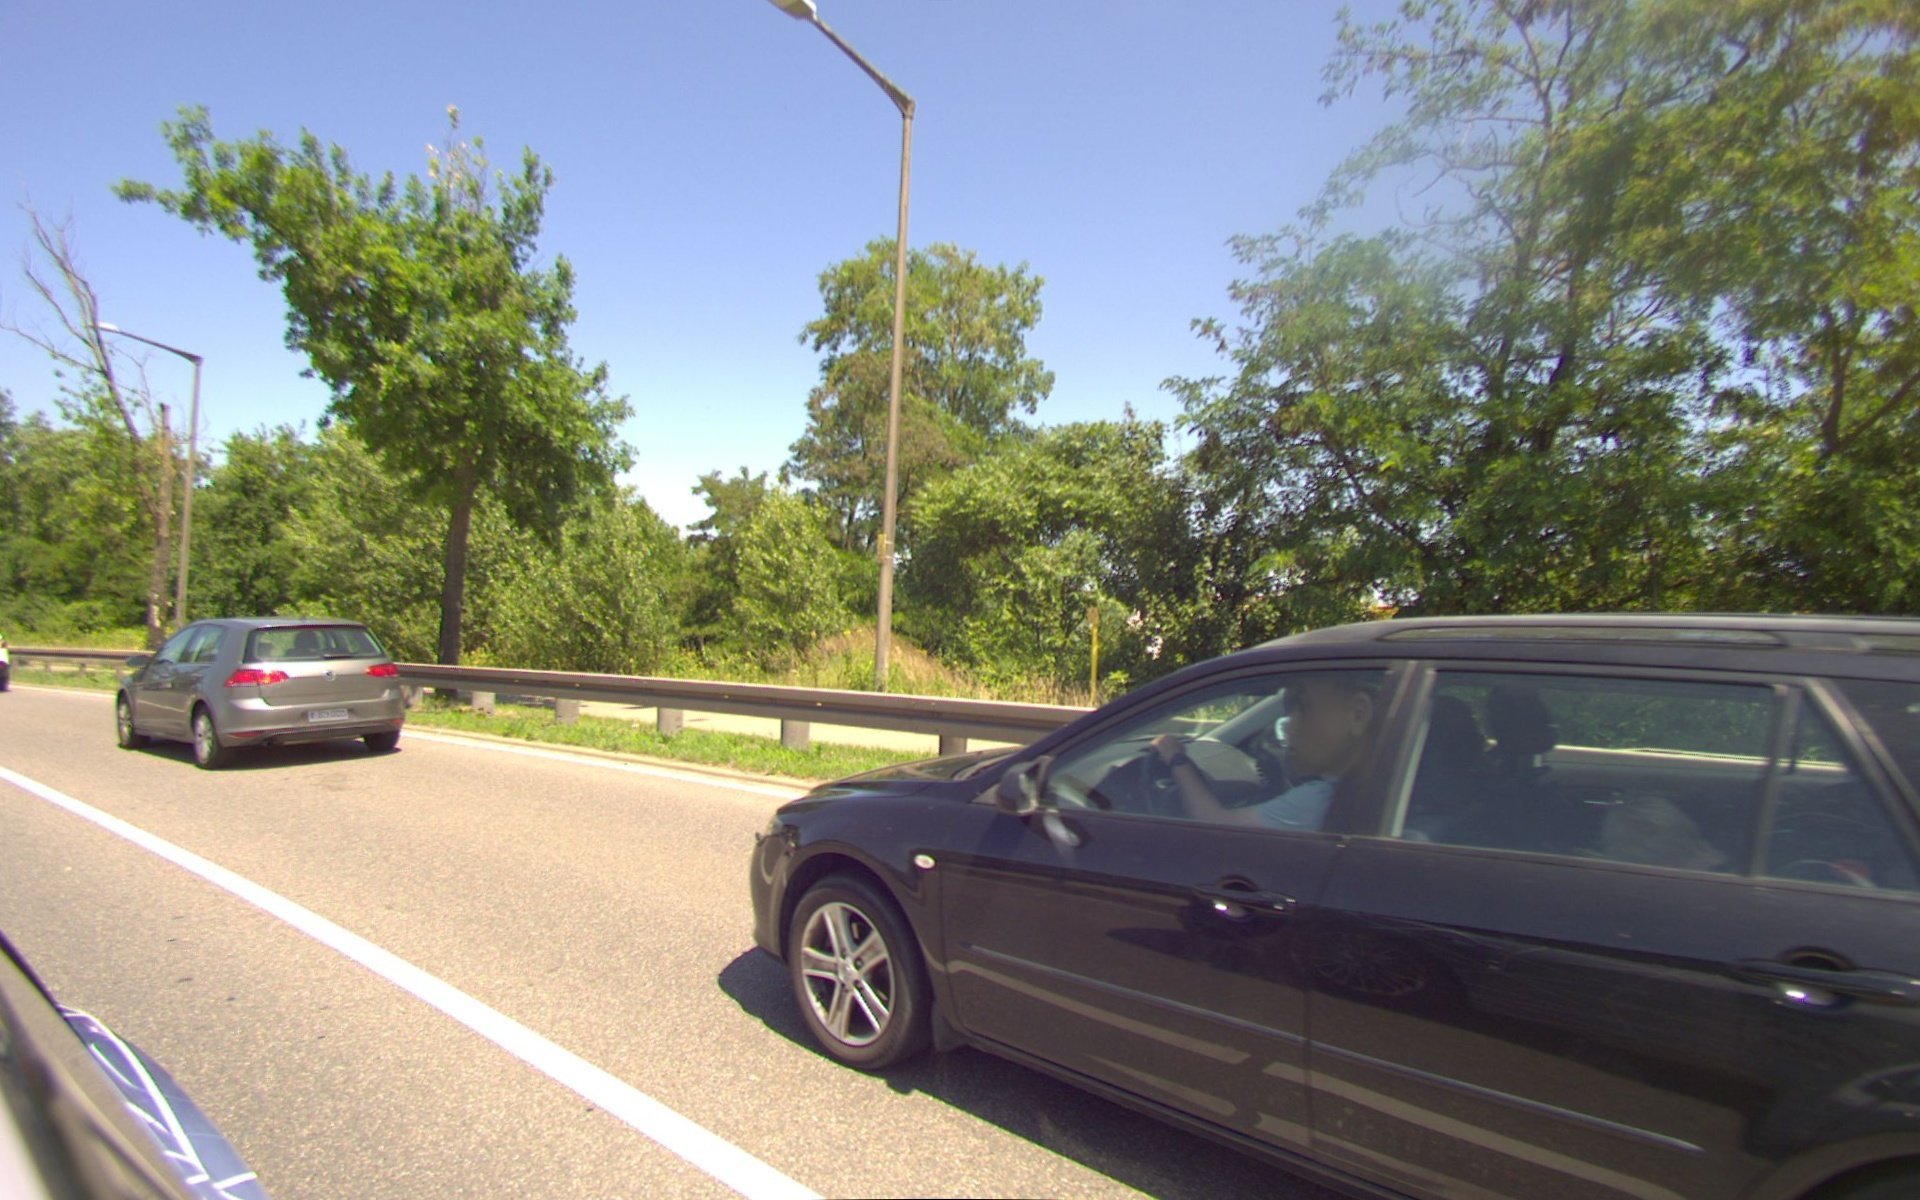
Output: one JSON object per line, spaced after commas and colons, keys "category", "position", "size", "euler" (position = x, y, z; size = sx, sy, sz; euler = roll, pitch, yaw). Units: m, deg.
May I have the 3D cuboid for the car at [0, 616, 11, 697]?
{"category": "car", "position": [-20.810, 1.118, 20.184], "size": [4.379, 1.558, 1.732], "euler": [-1, -1, 32]}

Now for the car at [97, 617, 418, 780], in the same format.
{"category": "car", "position": [-7.671, 0.921, 10.922], "size": [4.101, 1.438, 1.700], "euler": [-1, -2, 38]}

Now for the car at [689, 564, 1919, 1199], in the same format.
{"category": "car", "position": [1.238, 0.685, 2.859], "size": [4.568, 1.453, 1.737], "euler": [-1, -1, 43]}
